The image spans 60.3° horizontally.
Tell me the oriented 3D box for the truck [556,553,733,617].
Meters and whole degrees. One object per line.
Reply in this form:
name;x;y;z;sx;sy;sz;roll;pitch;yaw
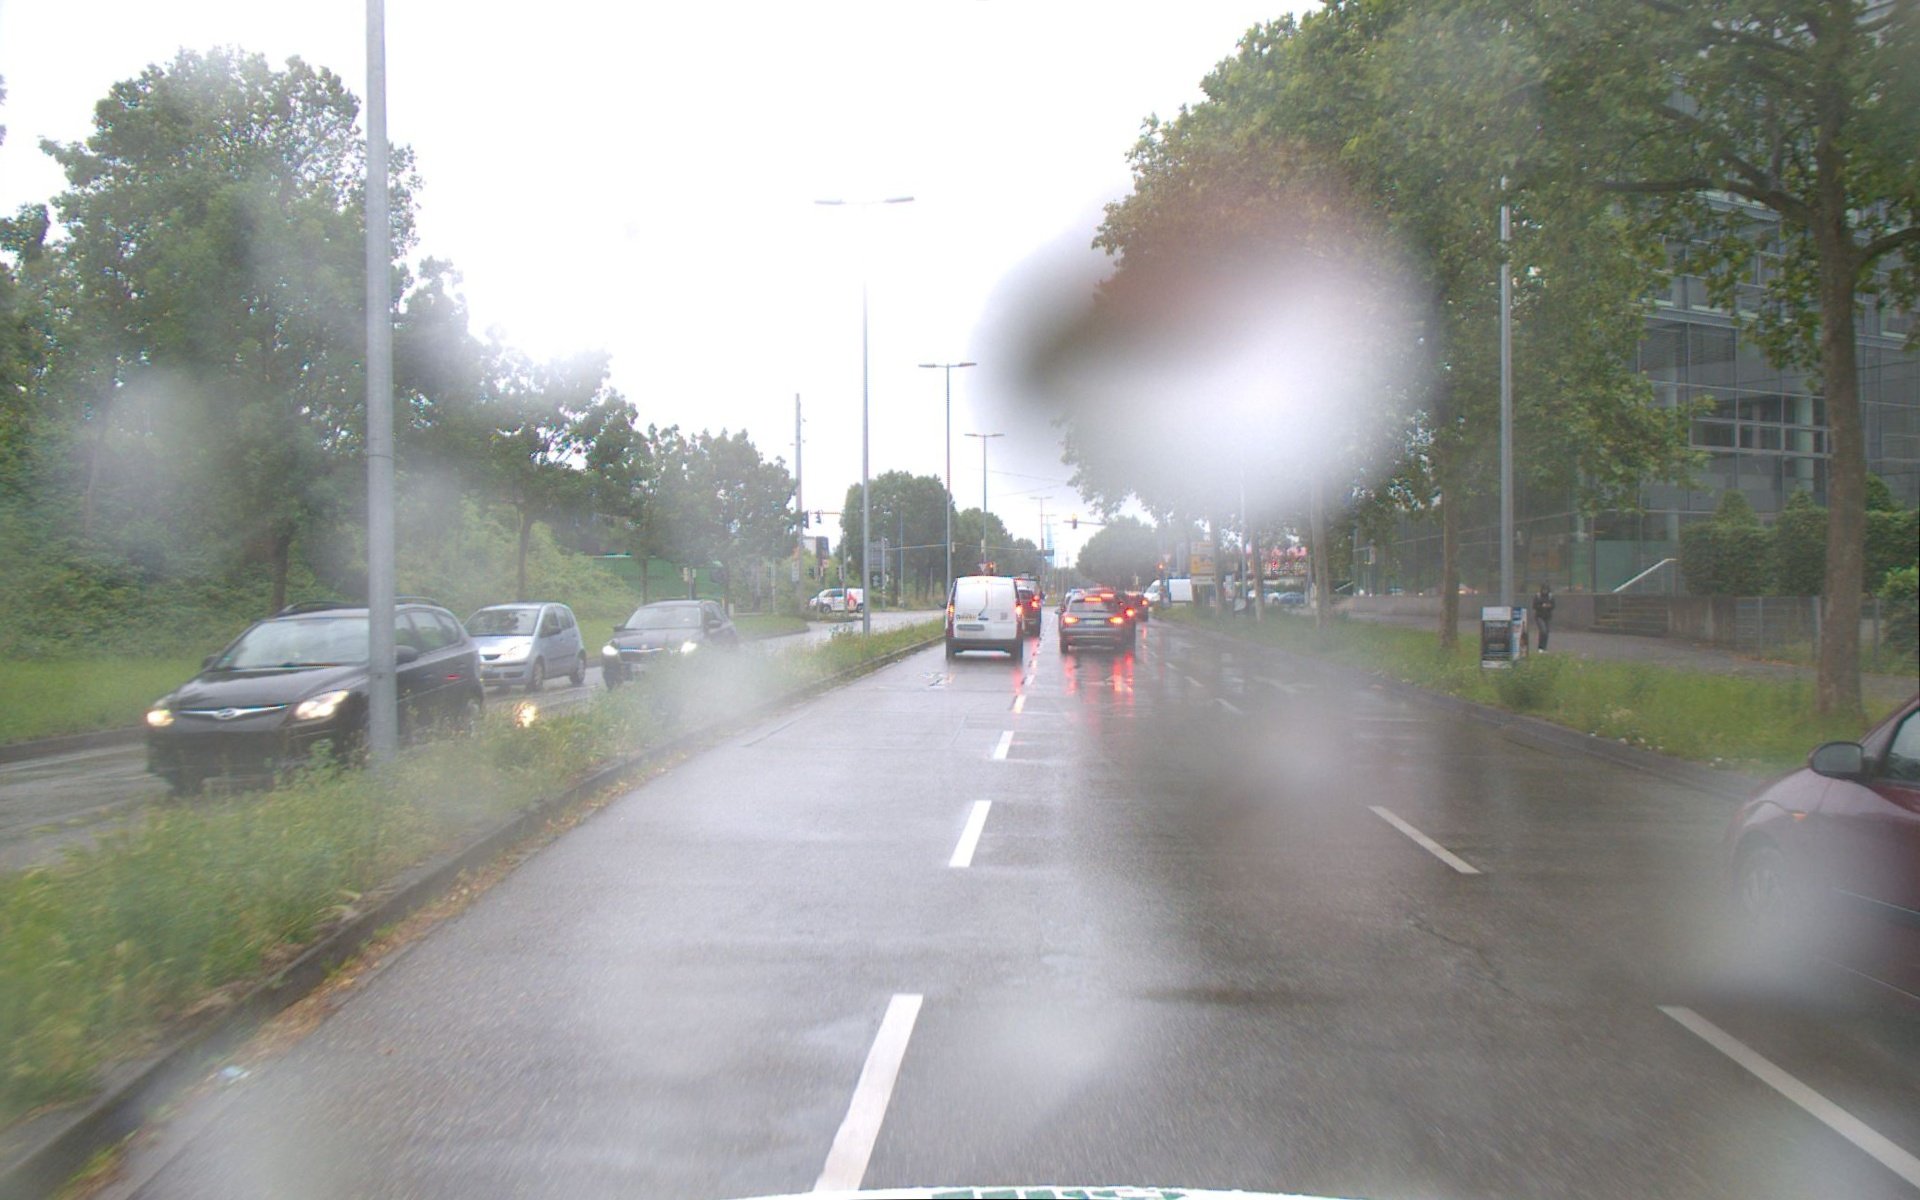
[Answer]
truck;-18.428;-0.785;97.191;10.017;3.512;2.627;1;-2;-34

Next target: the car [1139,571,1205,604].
car;18.789;-1.094;146.476;5.945;2.792;1.977;1;-2;-33

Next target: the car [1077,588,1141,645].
car;4.385;0.451;49.131;1.673;1.577;4.001;0;1;2

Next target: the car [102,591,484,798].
car;-5.810;0.728;15.034;1.787;1.602;4.358;0;0;-1

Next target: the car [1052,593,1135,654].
car;3.392;0.579;42.732;1.952;1.477;4.001;0;0;2

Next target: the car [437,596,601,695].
car;-7.832;0.766;29.702;1.660;1.646;3.849;0;0;4

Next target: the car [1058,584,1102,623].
car;4.666;0.101;64.525;1.675;1.470;4.002;0;1;4

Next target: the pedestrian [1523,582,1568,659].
pedestrian;13.828;0.462;39.090;0.650;1.793;1.075;0;0;-2

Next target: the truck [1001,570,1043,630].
truck;2.665;-0.015;71.065;1.720;2.509;4.001;0;0;2

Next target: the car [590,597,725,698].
car;-5.325;0.786;29.630;1.685;1.646;4.345;0;0;-1

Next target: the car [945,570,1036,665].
car;0.736;0.416;37.699;1.952;2.049;4.001;0;-1;2

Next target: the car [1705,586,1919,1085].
car;3.898;0.747;4.760;1.801;1.563;4.113;1;0;3

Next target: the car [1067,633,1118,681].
car;4.555;1.950;57.159;1.675;1.470;4.002;0;1;4
